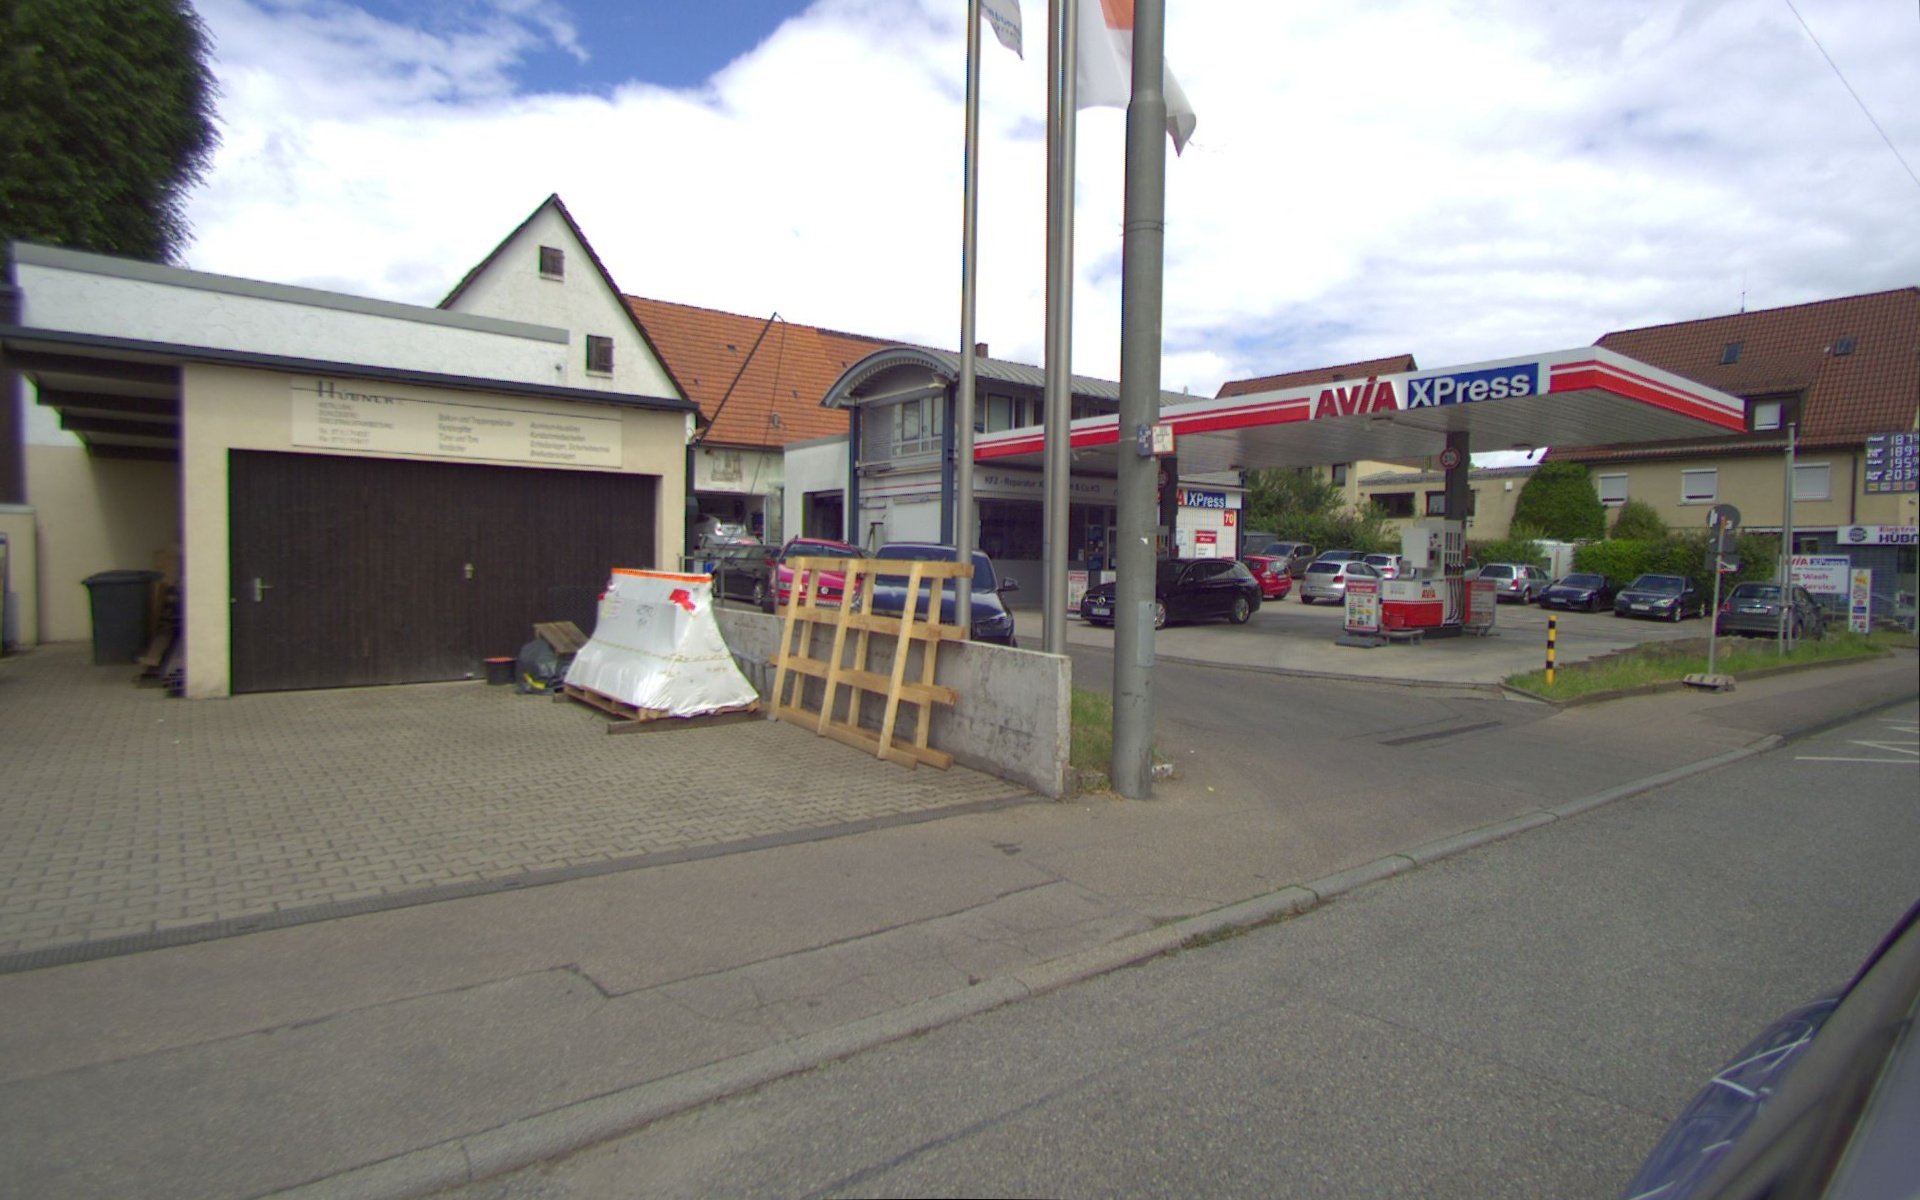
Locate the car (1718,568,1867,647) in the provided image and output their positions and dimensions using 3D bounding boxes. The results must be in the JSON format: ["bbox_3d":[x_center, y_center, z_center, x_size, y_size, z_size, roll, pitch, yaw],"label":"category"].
[{"bbox_3d":[20.181,0.141,24.498,4.081,1.613,1.623,0,8,-35],"label":"car"}]

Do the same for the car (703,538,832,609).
[{"bbox_3d":[-4.808,-0.687,24.923,1.590,1.458,3.757,5,1,-36],"label":"car"}]

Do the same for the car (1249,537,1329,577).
[{"bbox_3d":[14.736,-1.922,45.251,3.884,1.650,1.571,-2,6,-41],"label":"car"}]

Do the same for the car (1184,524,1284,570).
[{"bbox_3d":[12.750,-2.432,46.914,5.048,1.940,1.923,-2,6,-41],"label":"car"}]

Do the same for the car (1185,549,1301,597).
[{"bbox_3d":[9.903,-0.999,35.634,1.591,1.477,3.757,-4,6,-35],"label":"car"}]

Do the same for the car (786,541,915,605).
[{"bbox_3d":[-2.966,-0.767,26.883,1.684,1.477,3.754,-4,6,-38],"label":"car"}]

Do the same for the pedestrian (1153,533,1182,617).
[{"bbox_3d":[4.900,-0.587,23.952,0.530,1.960,0.587,-1,0,-1],"label":"pedestrian"}]

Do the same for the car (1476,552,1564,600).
[{"bbox_3d":[20.933,-0.912,37.783,3.682,1.604,1.641,-2,6,-41],"label":"car"}]

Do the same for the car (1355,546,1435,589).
[{"bbox_3d":[17.744,-1.345,41.270,3.438,1.587,1.571,-2,6,-41],"label":"car"}]

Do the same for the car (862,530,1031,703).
[{"bbox_3d":[-0.250,0.022,12.228,1.603,1.650,4.325,3,4,-3],"label":"car"}]

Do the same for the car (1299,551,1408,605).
[{"bbox_3d":[13.092,-0.771,33.656,3.679,1.518,1.636,-4,8,-37],"label":"car"}]

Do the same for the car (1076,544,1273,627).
[{"bbox_3d":[4.693,-0.361,21.818,4.487,1.628,1.635,-2,2,-37],"label":"car"}]

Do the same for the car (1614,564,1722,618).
[{"bbox_3d":[23.586,-0.348,33.658,4.575,1.560,1.717,-2,6,-40],"label":"car"}]

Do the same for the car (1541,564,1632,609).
[{"bbox_3d":[22.032,-0.517,35.552,3.682,1.388,1.640,-2,6,-41],"label":"car"}]

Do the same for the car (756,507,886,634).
[{"bbox_3d":[-2.507,-0.524,17.436,1.788,1.737,4.619,5,1,-11],"label":"car"}]

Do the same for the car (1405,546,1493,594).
[{"bbox_3d":[19.151,-1.205,39.590,3.978,1.702,1.571,-2,6,-41],"label":"car"}]

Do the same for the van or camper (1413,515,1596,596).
[{"bbox_3d":[22.319,-1.888,41.714,2.488,2.884,5.975,0,6,-41],"label":"van or camper"}]

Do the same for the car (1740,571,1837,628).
[{"bbox_3d":[26.342,-0.065,32.135,4.132,1.546,1.638,-2,6,-41],"label":"car"}]
